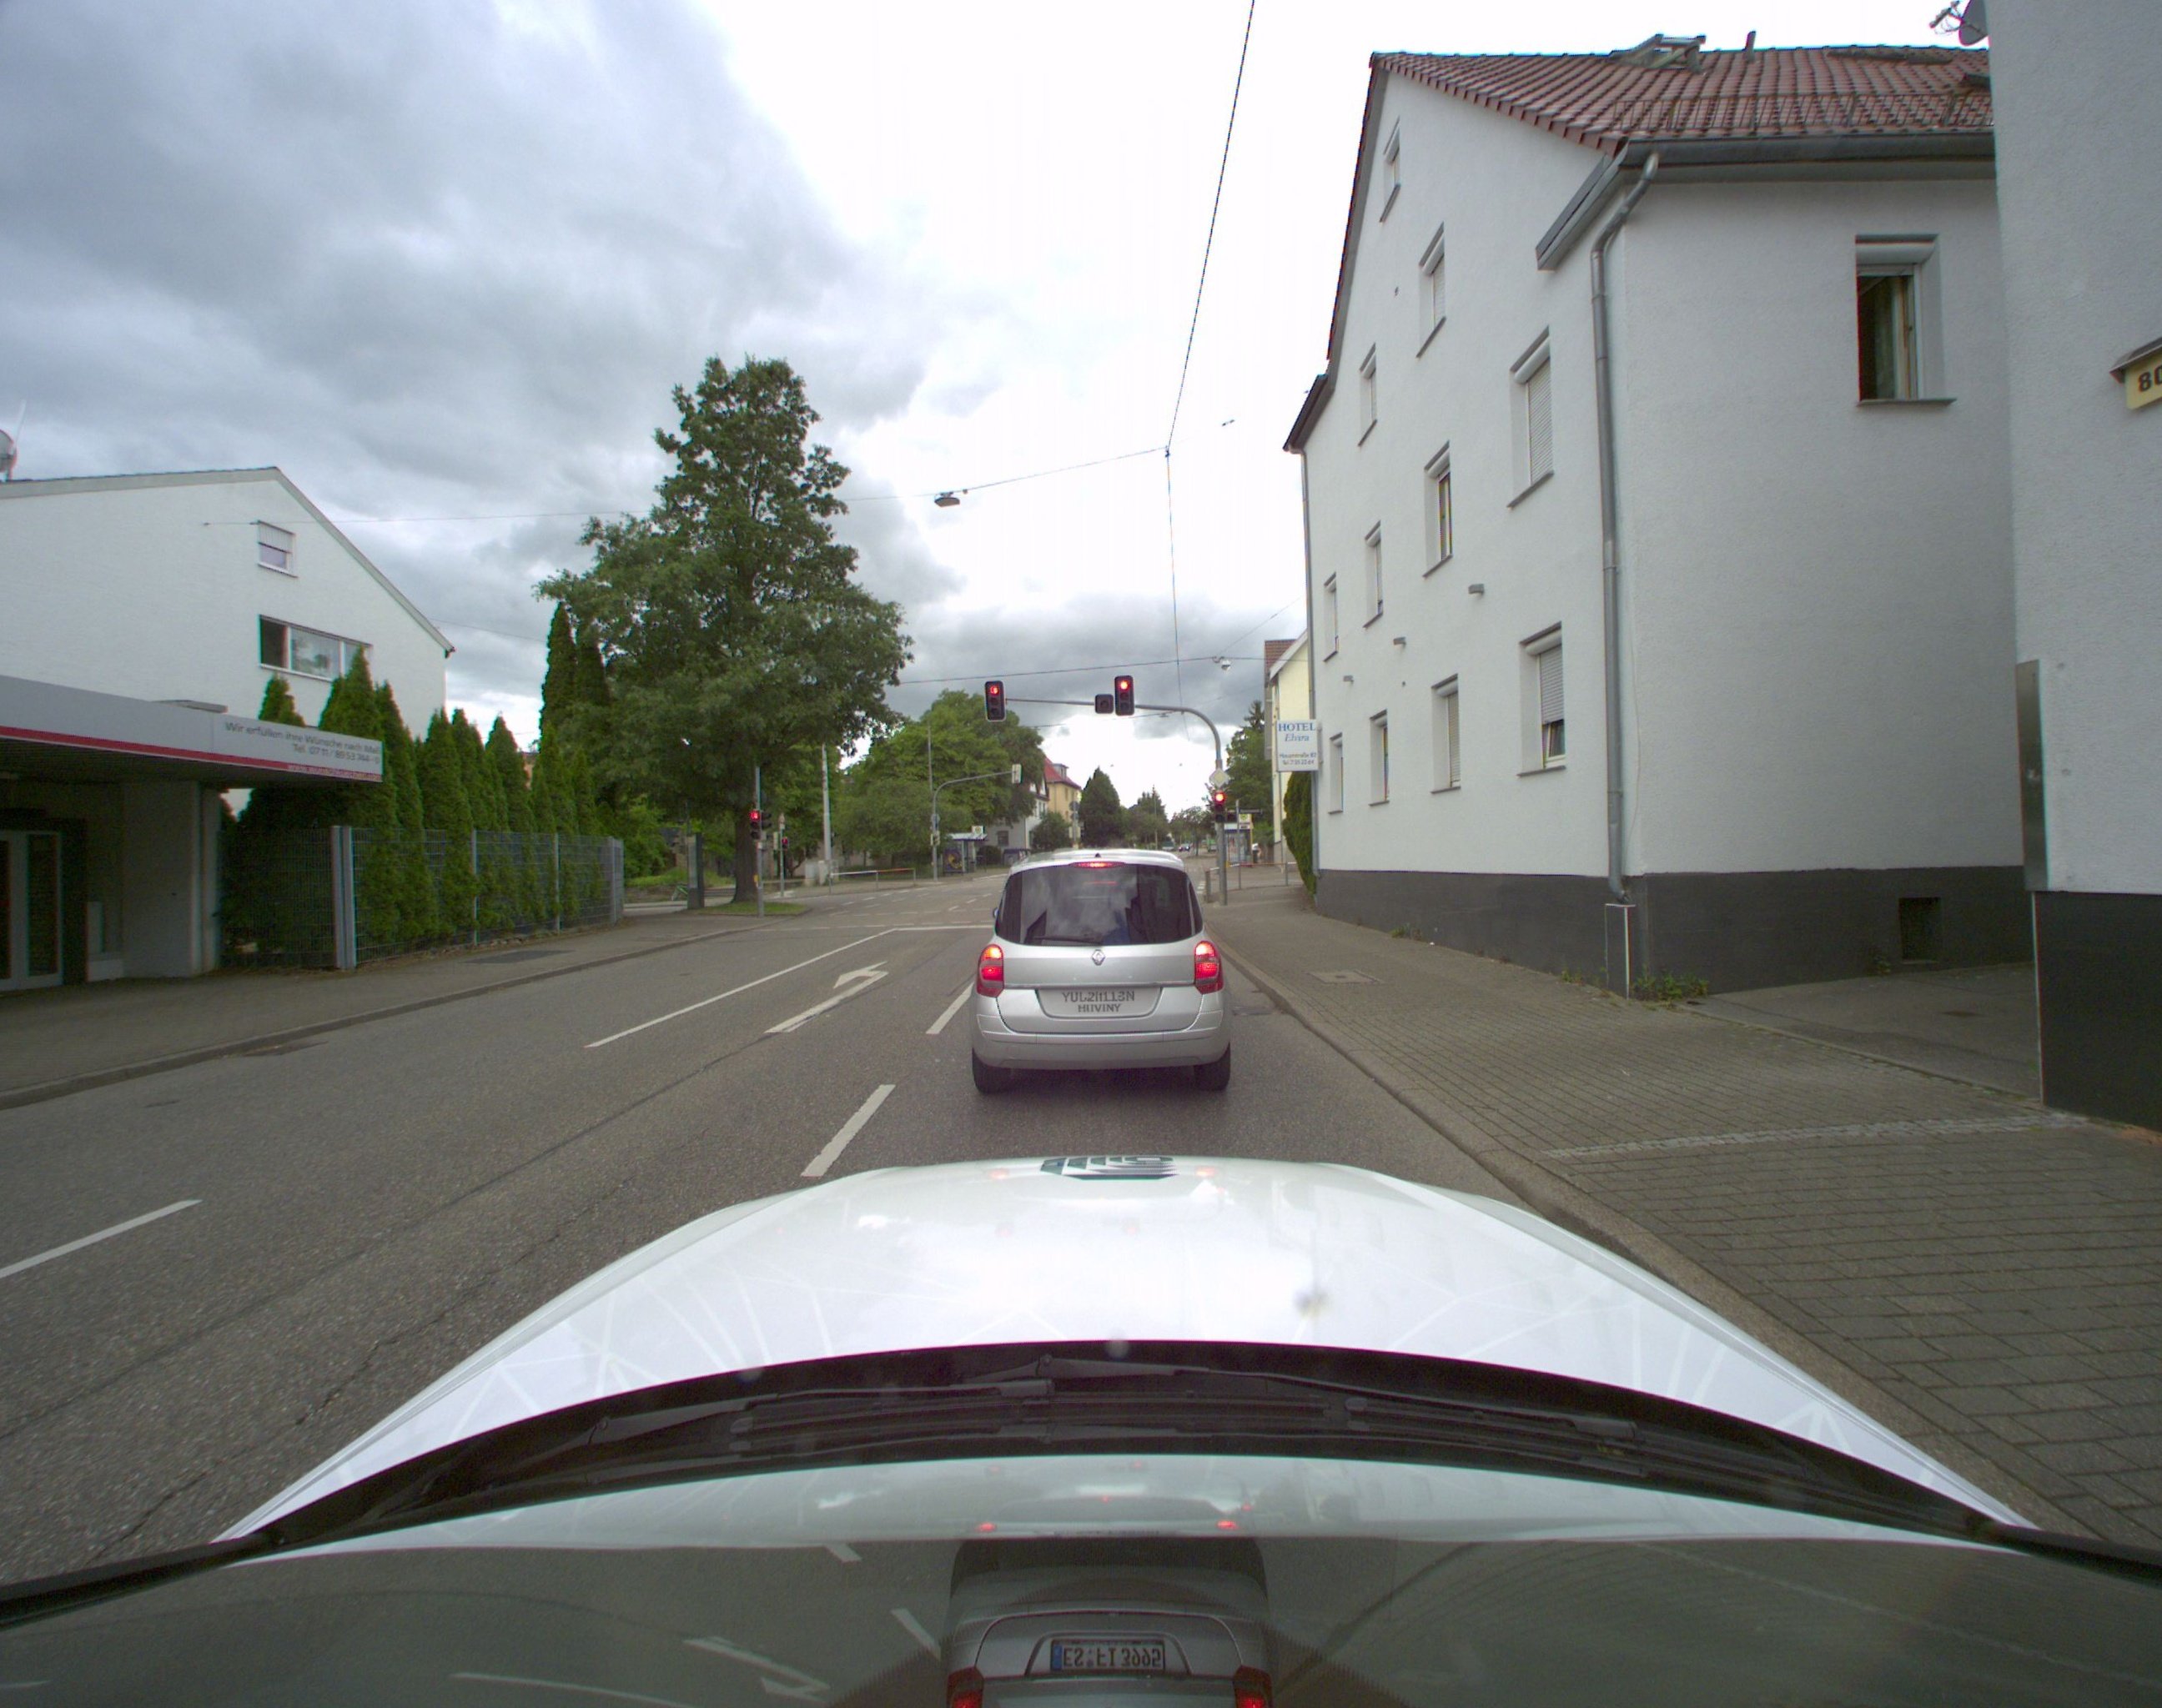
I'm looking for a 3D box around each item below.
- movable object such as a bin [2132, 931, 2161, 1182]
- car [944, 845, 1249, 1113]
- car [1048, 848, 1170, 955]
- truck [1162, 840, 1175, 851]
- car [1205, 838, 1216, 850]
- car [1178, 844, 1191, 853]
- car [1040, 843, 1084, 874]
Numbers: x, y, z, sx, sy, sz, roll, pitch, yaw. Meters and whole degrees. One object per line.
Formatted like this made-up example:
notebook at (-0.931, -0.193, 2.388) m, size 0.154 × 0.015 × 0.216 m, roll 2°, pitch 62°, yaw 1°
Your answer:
movable object such as a bin at (4.325, 0.755, 2.872) m, size 0.538 × 0.941 × 0.487 m, roll -4°, pitch -1°, yaw 2°
car at (0.139, 0.730, 6.719) m, size 1.748 × 1.530 × 4.001 m, roll -1°, pitch 0°, yaw 1°
car at (0.453, 0.696, 13.746) m, size 1.748 × 1.530 × 3.798 m, roll -1°, pitch 0°, yaw 1°
truck at (17.877, -1.738, 166.366) m, size 2.088 × 2.013 × 5.766 m, roll -1°, pitch 0°, yaw 11°
car at (29.568, -2.230, 185.657) m, size 2.044 × 2.512 × 5.616 m, roll -1°, pitch 0°, yaw 14°
car at (18.601, -0.979, 146.886) m, size 1.844 × 1.748 × 4.015 m, roll -1°, pitch 0°, yaw 13°
car at (-1.230, 0.264, 54.386) m, size 1.913 × 1.773 × 4.013 m, roll -6°, pitch -1°, yaw 12°
